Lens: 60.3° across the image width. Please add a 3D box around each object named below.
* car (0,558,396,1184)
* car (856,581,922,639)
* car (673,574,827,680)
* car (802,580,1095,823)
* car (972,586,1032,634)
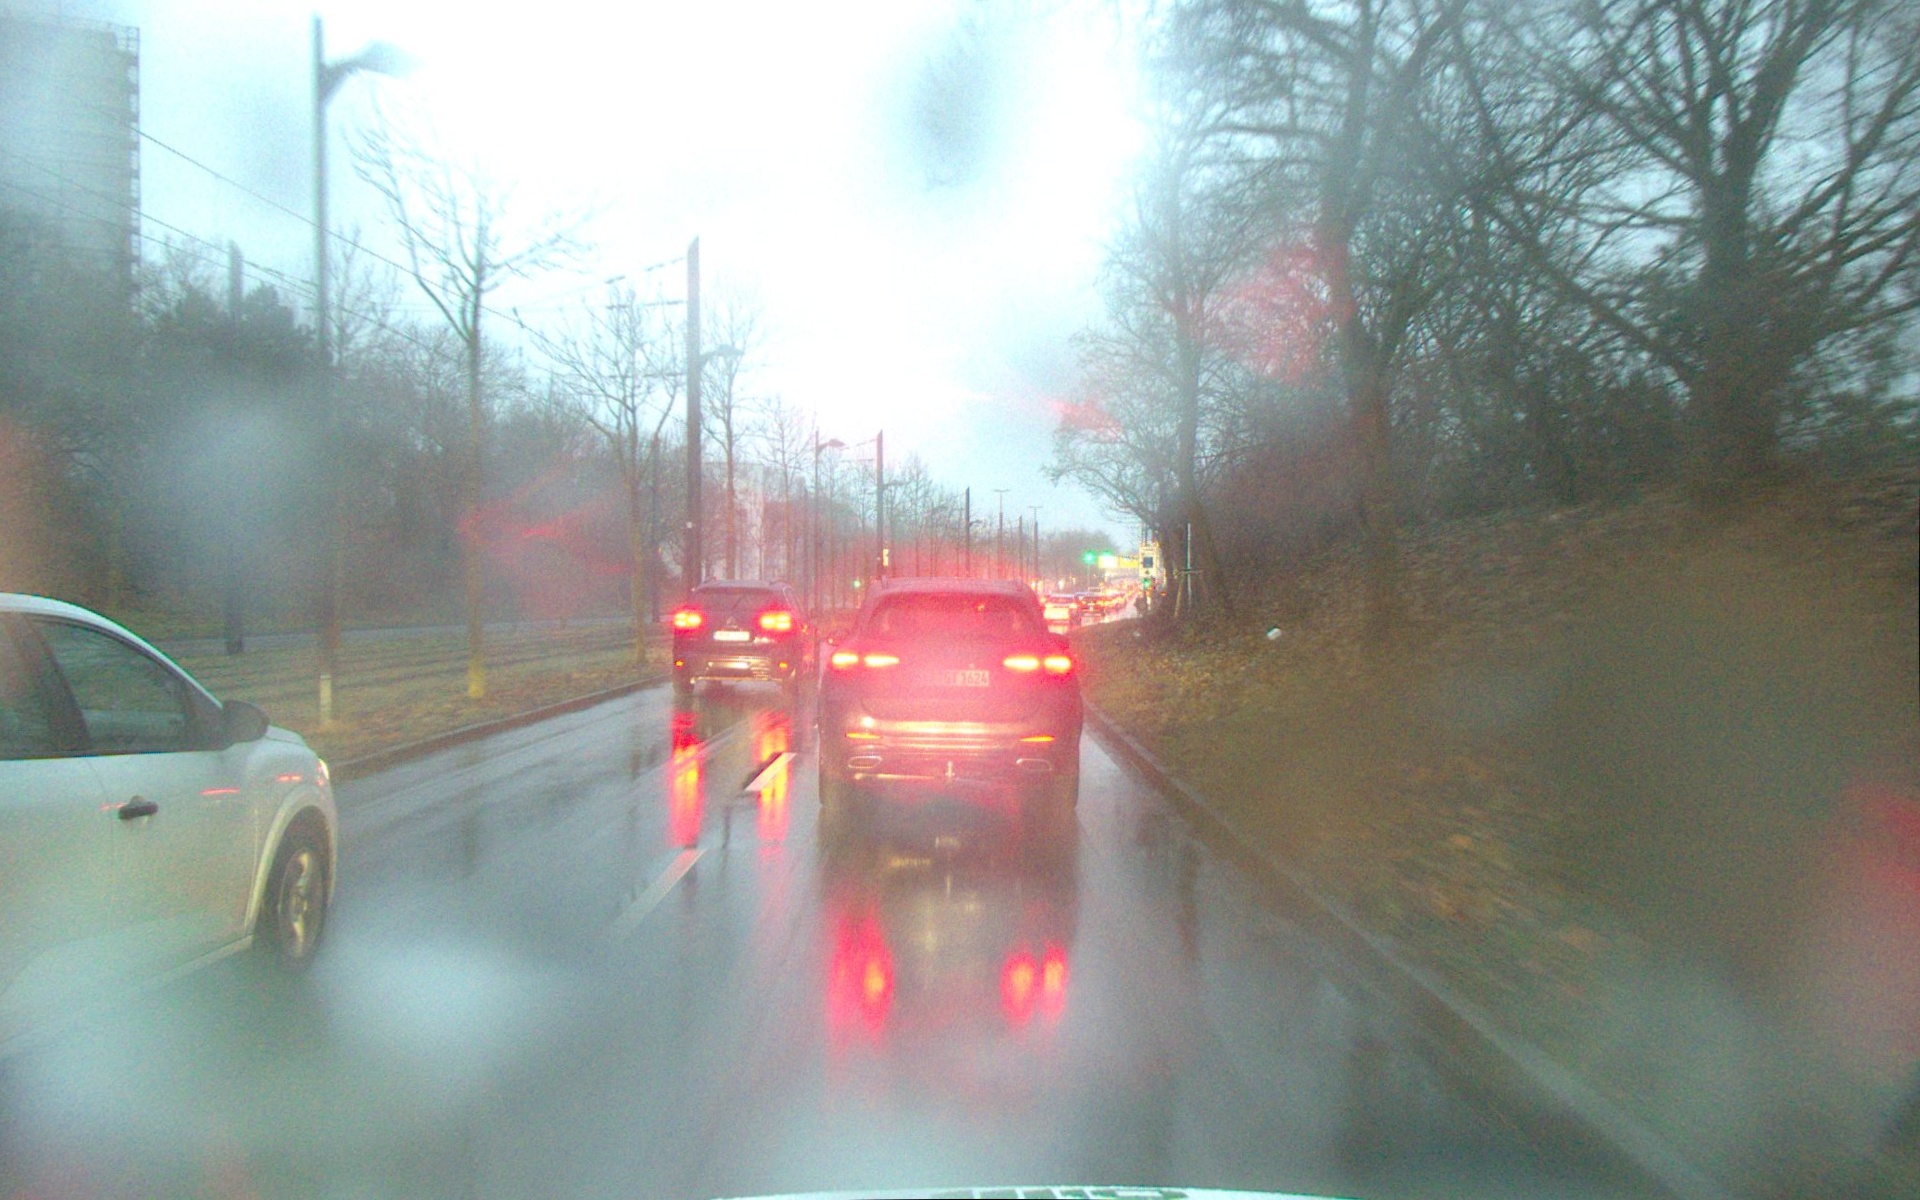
[{"bbox_3d":[-3.212,0.668,4.869,1.673,1.551,4.135,0,0,0],"label":"car"},{"bbox_3d":[-2.070,0.262,49.212,1.842,1.621,4.000,0,1,0],"label":"car"},{"bbox_3d":[-3.098,0.352,25.138,1.841,1.485,4.000,0,1,0],"label":"car"},{"bbox_3d":[-0.115,0.666,13.128,1.957,1.612,3.999,1,1,-1],"label":"car"},{"bbox_3d":[1.450,0.317,56.067,1.672,1.585,3.999,0,0,7],"label":"car"}]
